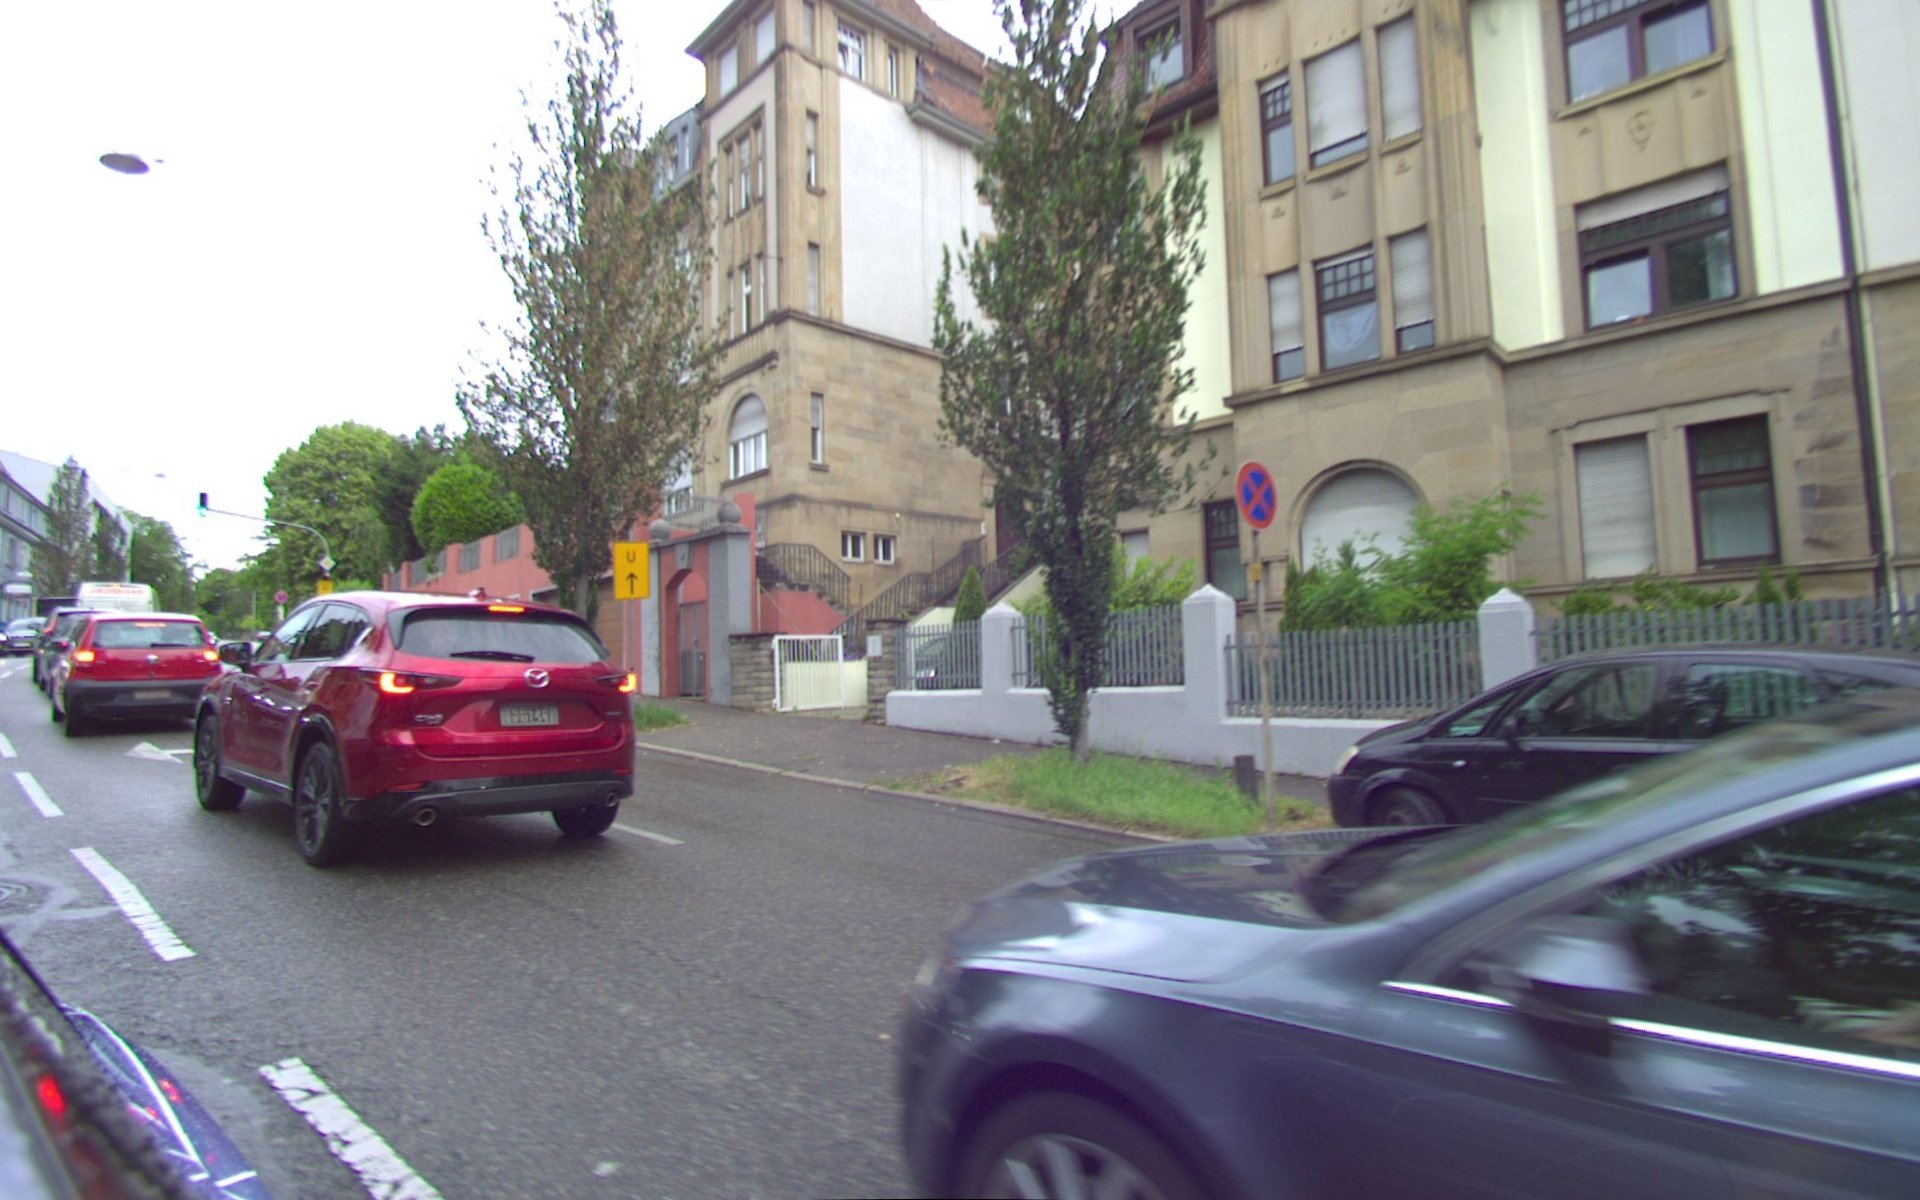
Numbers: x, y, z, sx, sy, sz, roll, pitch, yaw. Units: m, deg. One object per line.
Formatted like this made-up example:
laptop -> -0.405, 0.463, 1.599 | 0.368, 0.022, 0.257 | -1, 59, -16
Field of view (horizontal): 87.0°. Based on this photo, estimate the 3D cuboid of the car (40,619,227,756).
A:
car -> -11.325, 1.088, 13.765 | 1.635, 1.580, 4.003 | 2, -3, -44

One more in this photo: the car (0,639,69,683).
car -> -37.286, 2.426, 40.655 | 1.708, 1.631, 3.485 | 1, -2, -33

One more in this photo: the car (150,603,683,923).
car -> -4.028, 0.945, 7.193 | 4.276, 1.596, 1.826 | -2, -6, 41

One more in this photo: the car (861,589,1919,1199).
car -> 1.962, 0.764, 1.260 | 4.280, 1.485, 1.719 | -2, -4, 42

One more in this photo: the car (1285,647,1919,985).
car -> 4.458, 1.178, 6.750 | 3.999, 1.625, 1.795 | -1, -2, 42

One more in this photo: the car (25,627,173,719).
car -> -16.251, 1.332, 19.022 | 1.753, 1.508, 4.266 | 7, -6, -43

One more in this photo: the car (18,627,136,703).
car -> -20.439, 1.436, 23.358 | 1.853, 1.587, 4.590 | 2, -3, -43

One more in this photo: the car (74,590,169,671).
car -> -28.688, 1.082, 34.800 | 2.089, 2.565, 5.552 | 3, -3, -36

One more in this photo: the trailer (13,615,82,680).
trailer -> -39.060, 1.998, 43.395 | 1.742, 2.645, 3.041 | 0, -2, -34

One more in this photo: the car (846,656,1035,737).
car -> -0.302, 1.821, 19.705 | 1.788, 1.409, 3.514 | -3, -5, 41
